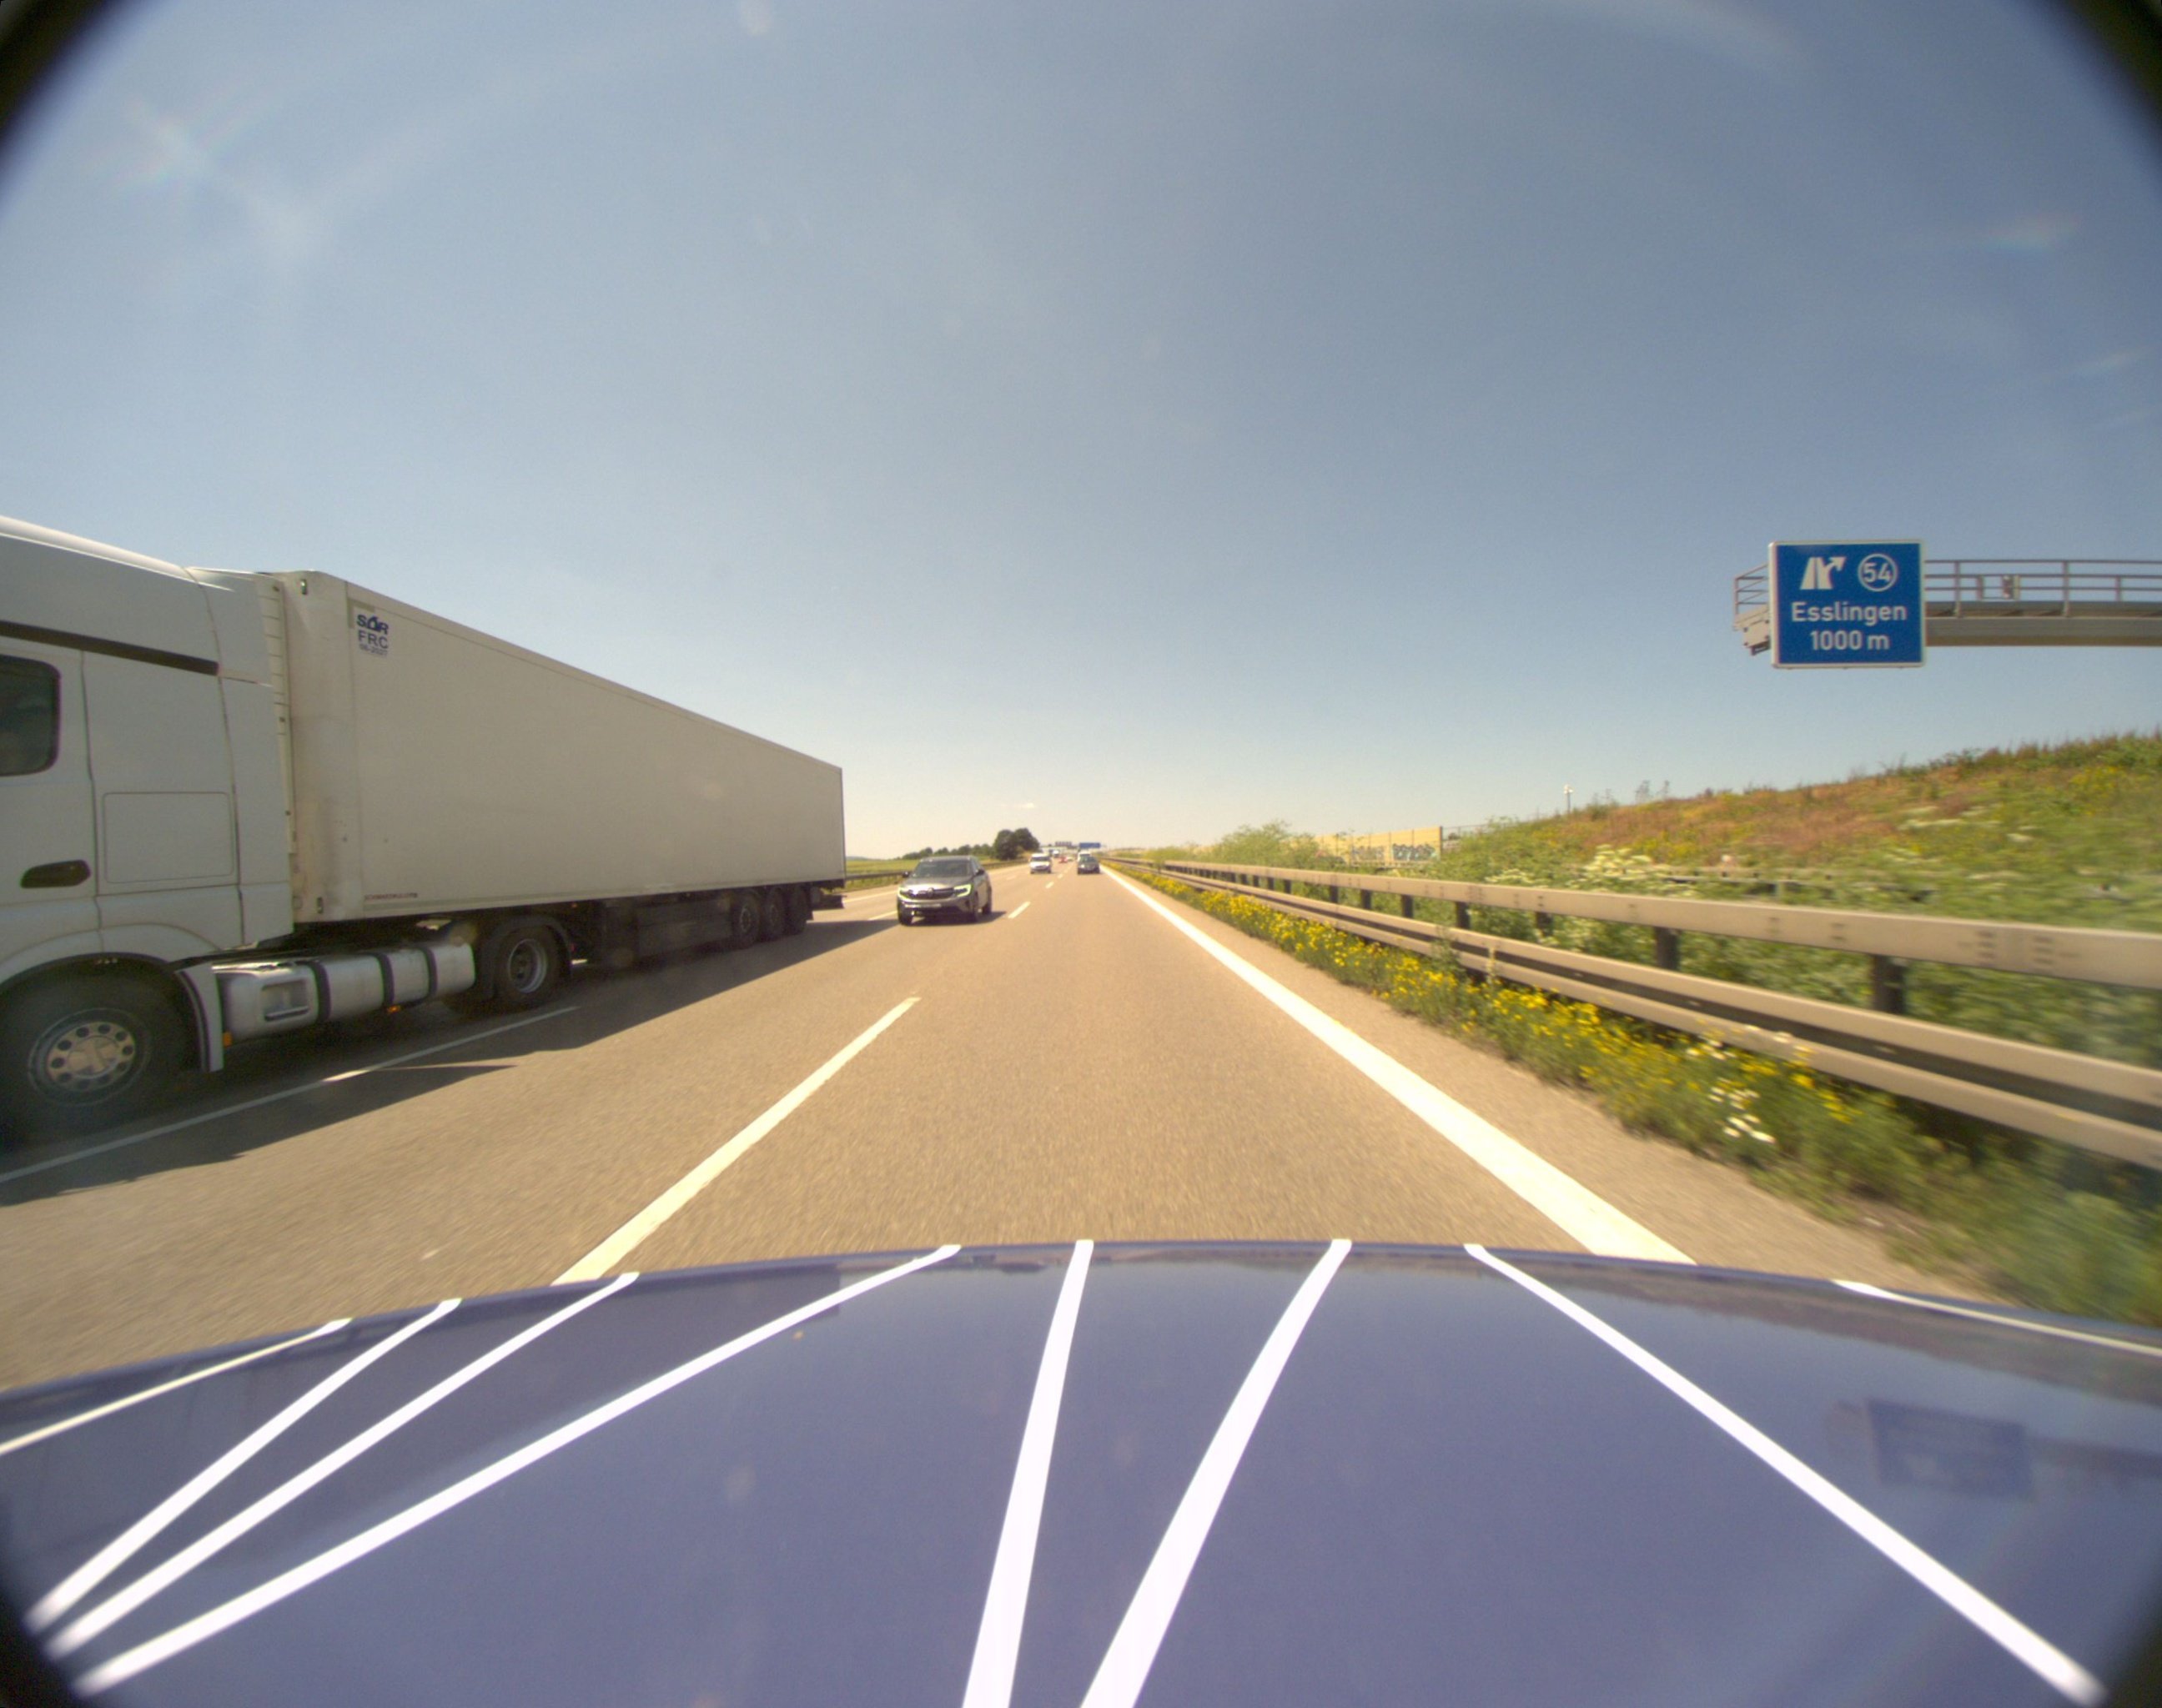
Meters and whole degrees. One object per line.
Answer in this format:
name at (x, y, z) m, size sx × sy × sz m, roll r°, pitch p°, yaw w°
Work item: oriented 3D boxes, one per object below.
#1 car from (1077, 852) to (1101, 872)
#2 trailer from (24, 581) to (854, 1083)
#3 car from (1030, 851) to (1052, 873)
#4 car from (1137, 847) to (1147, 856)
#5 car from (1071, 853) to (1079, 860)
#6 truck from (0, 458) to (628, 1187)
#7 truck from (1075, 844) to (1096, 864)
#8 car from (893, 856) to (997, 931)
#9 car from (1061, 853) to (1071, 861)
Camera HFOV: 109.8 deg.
car at (0.643, 0.653, 61.626) m, size 1.715 × 1.586 × 4.546 m, roll 0°, pitch 0°, yaw -2°
trailer at (-7.467, -0.226, 13.164) m, size 2.875 × 4.195 × 13.293 m, roll -2°, pitch 0°, yaw 0°
car at (-3.623, 0.698, 69.629) m, size 1.812 × 1.836 × 5.311 m, roll -2°, pitch 0°, yaw -2°
car at (14.894, -0.612, 185.215) m, size 1.998 × 1.950 × 5.913 m, roll -2°, pitch 0°, yaw 0°
car at (-1.569, 0.569, 188.818) m, size 1.724 × 1.514 × 3.581 m, roll -2°, pitch 1°, yaw -2°
truck at (-7.476, -0.161, 6.548) m, size 2.870 × 4.068 × 6.878 m, roll -2°, pitch 1°, yaw 0°
truck at (0.562, -0.020, 100.300) m, size 2.334 × 2.378 × 6.685 m, roll -2°, pitch 0°, yaw -2°
car at (-3.331, 0.906, 19.527) m, size 1.856 × 1.639 × 4.644 m, roll -1°, pitch 0°, yaw -1°
car at (-3.069, 0.639, 154.228) m, size 1.723 × 1.514 × 3.581 m, roll -2°, pitch 1°, yaw 1°
